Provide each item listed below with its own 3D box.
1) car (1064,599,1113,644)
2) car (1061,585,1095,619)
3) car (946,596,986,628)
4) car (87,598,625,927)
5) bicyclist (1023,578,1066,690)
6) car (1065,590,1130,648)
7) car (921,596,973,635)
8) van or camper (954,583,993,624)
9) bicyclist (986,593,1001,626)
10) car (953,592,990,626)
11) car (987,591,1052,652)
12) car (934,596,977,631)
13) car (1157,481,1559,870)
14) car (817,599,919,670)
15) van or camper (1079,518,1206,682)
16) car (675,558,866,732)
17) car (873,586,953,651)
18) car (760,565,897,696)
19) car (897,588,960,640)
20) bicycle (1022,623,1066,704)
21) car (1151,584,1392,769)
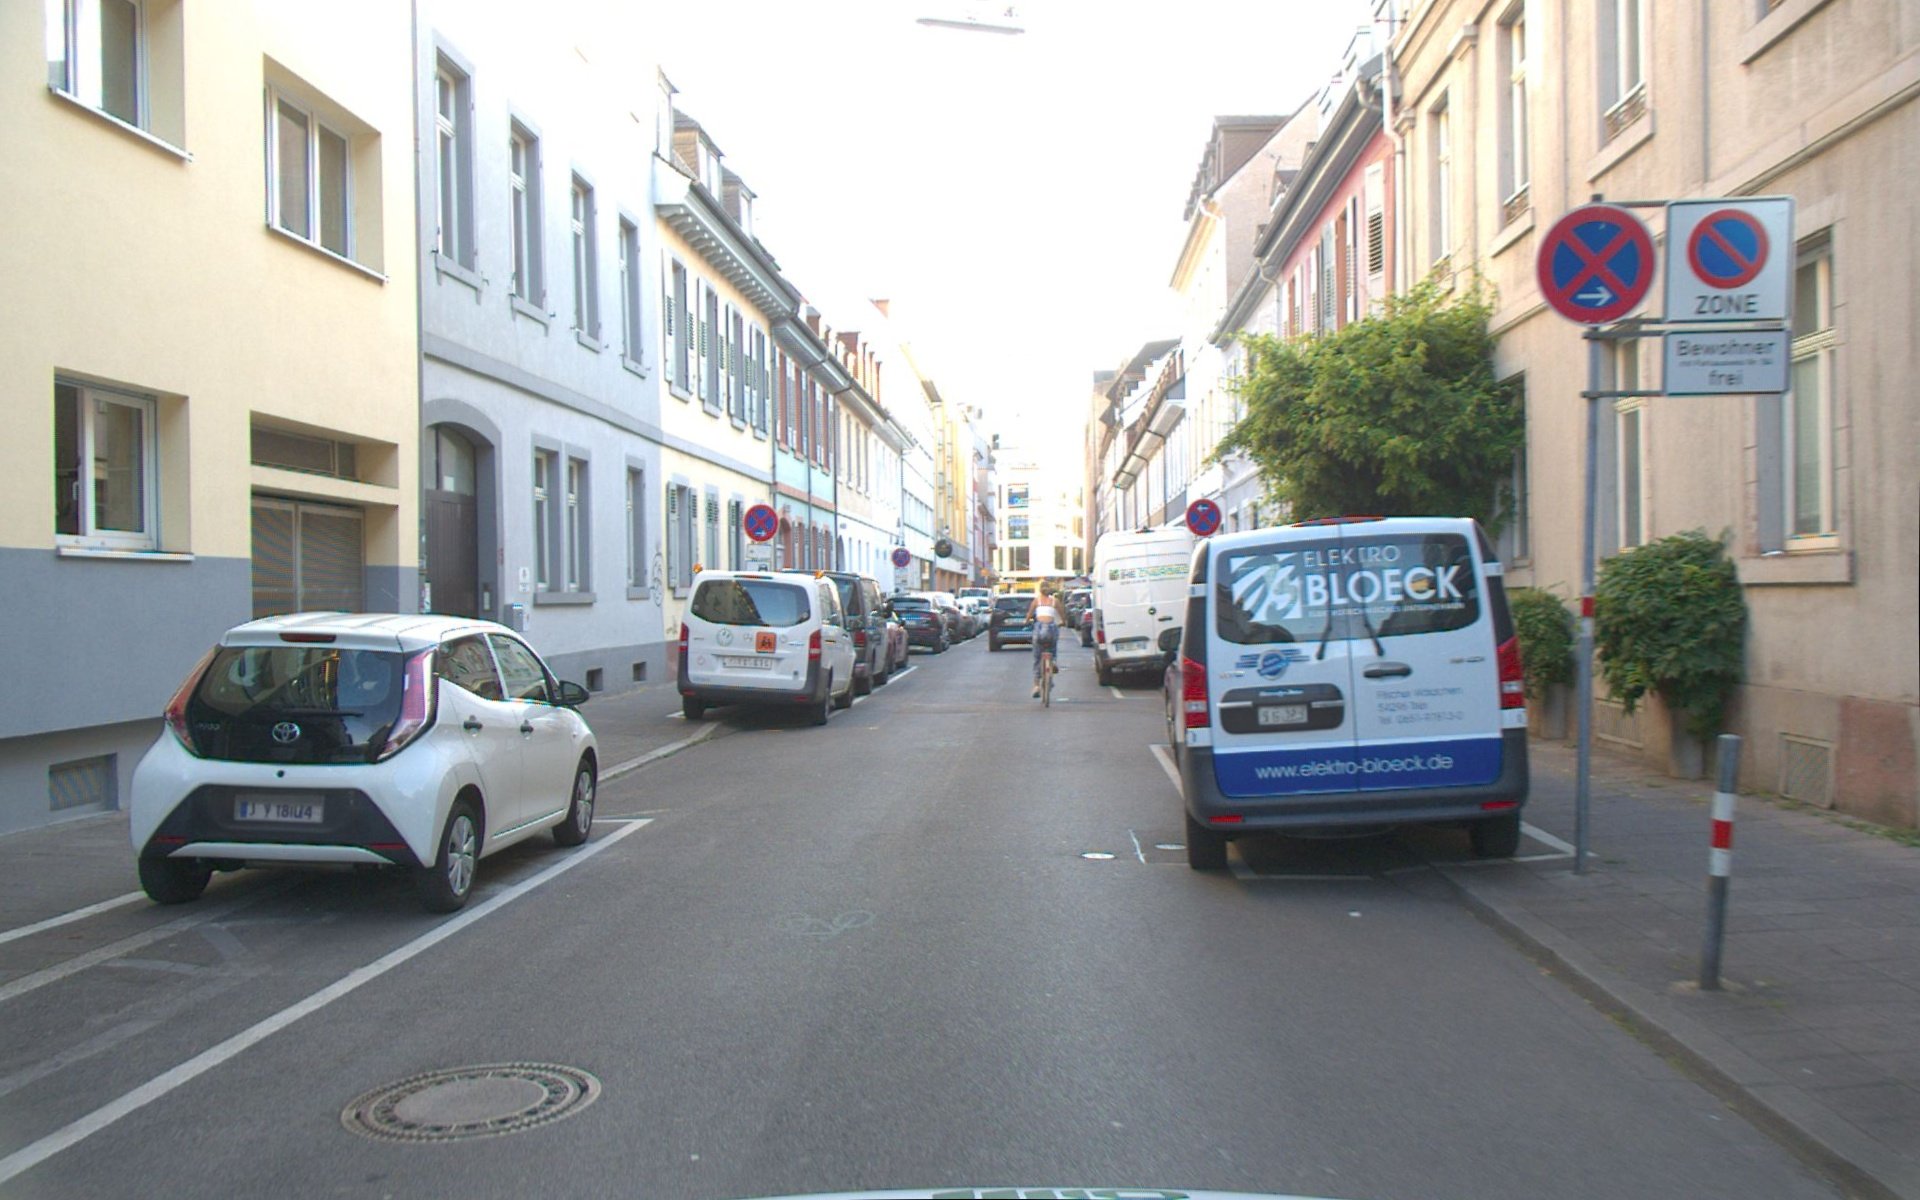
[{"bbox_3d":[4.496,0.725,58.305,1.641,1.512,4.002,0,0,3],"label":"car"},{"bbox_3d":[5.731,0.082,80.576,1.619,1.588,3.607,0,0,3],"label":"car"},{"bbox_3d":[0.294,0.540,75.553,1.619,1.435,3.607,0,0,3],"label":"car"},{"bbox_3d":[-3.205,0.761,9.550,1.627,1.474,3.522,2,0,3],"label":"car"},{"bbox_3d":[1.240,0.487,24.145,0.608,1.602,0.684,0,0,4],"label":"bicyclist"},{"bbox_3d":[4.232,0.558,51.145,1.781,1.556,5.074,-4,0,4],"label":"car"},{"bbox_3d":[-0.464,0.572,64.026,1.878,1.459,4.294,0,0,1],"label":"car"},{"bbox_3d":[0.736,0.167,86.466,1.805,2.048,4.680,0,0,3],"label":"van or camper"},{"bbox_3d":[1.423,0.410,70.553,0.593,1.393,0.621,0,0,4],"label":"bicyclist"},{"bbox_3d":[0.582,0.410,80.616,1.619,1.588,3.607,0,0,3],"label":"car"},{"bbox_3d":[1.739,0.585,47.571,1.781,1.646,4.001,0,0,3],"label":"car"},{"bbox_3d":[-0.175,0.553,70.567,1.619,1.435,3.904,0,0,3],"label":"car"},{"bbox_3d":[2.311,0.374,10.973,1.895,1.931,5.280,-1,0,6],"label":"car"},{"bbox_3d":[-1.930,0.706,35.885,1.728,1.426,4.265,-1,0,3],"label":"car"},{"bbox_3d":[3.281,-0.024,30.949,2.007,2.683,7.066,-1,0,4],"label":"van or camper"},{"bbox_3d":[-2.429,0.531,22.436,1.824,2.049,5.107,-1,0,2],"label":"car"},{"bbox_3d":[-1.269,0.498,46.525,1.765,1.706,4.492,-1,0,4],"label":"car"},{"bbox_3d":[-2.198,0.475,28.901,1.824,2.049,4.815,-1,0,2],"label":"car"},{"bbox_3d":[-1.047,0.447,57.650,1.956,1.737,4.536,0,0,2],"label":"car"},{"bbox_3d":[1.236,0.905,24.101,0.600,1.101,1.810,0,0,4],"label":"bicycle"},{"bbox_3d":[2.849,0.640,15.856,1.620,1.531,3.754,-1,0,1],"label":"car"}]
